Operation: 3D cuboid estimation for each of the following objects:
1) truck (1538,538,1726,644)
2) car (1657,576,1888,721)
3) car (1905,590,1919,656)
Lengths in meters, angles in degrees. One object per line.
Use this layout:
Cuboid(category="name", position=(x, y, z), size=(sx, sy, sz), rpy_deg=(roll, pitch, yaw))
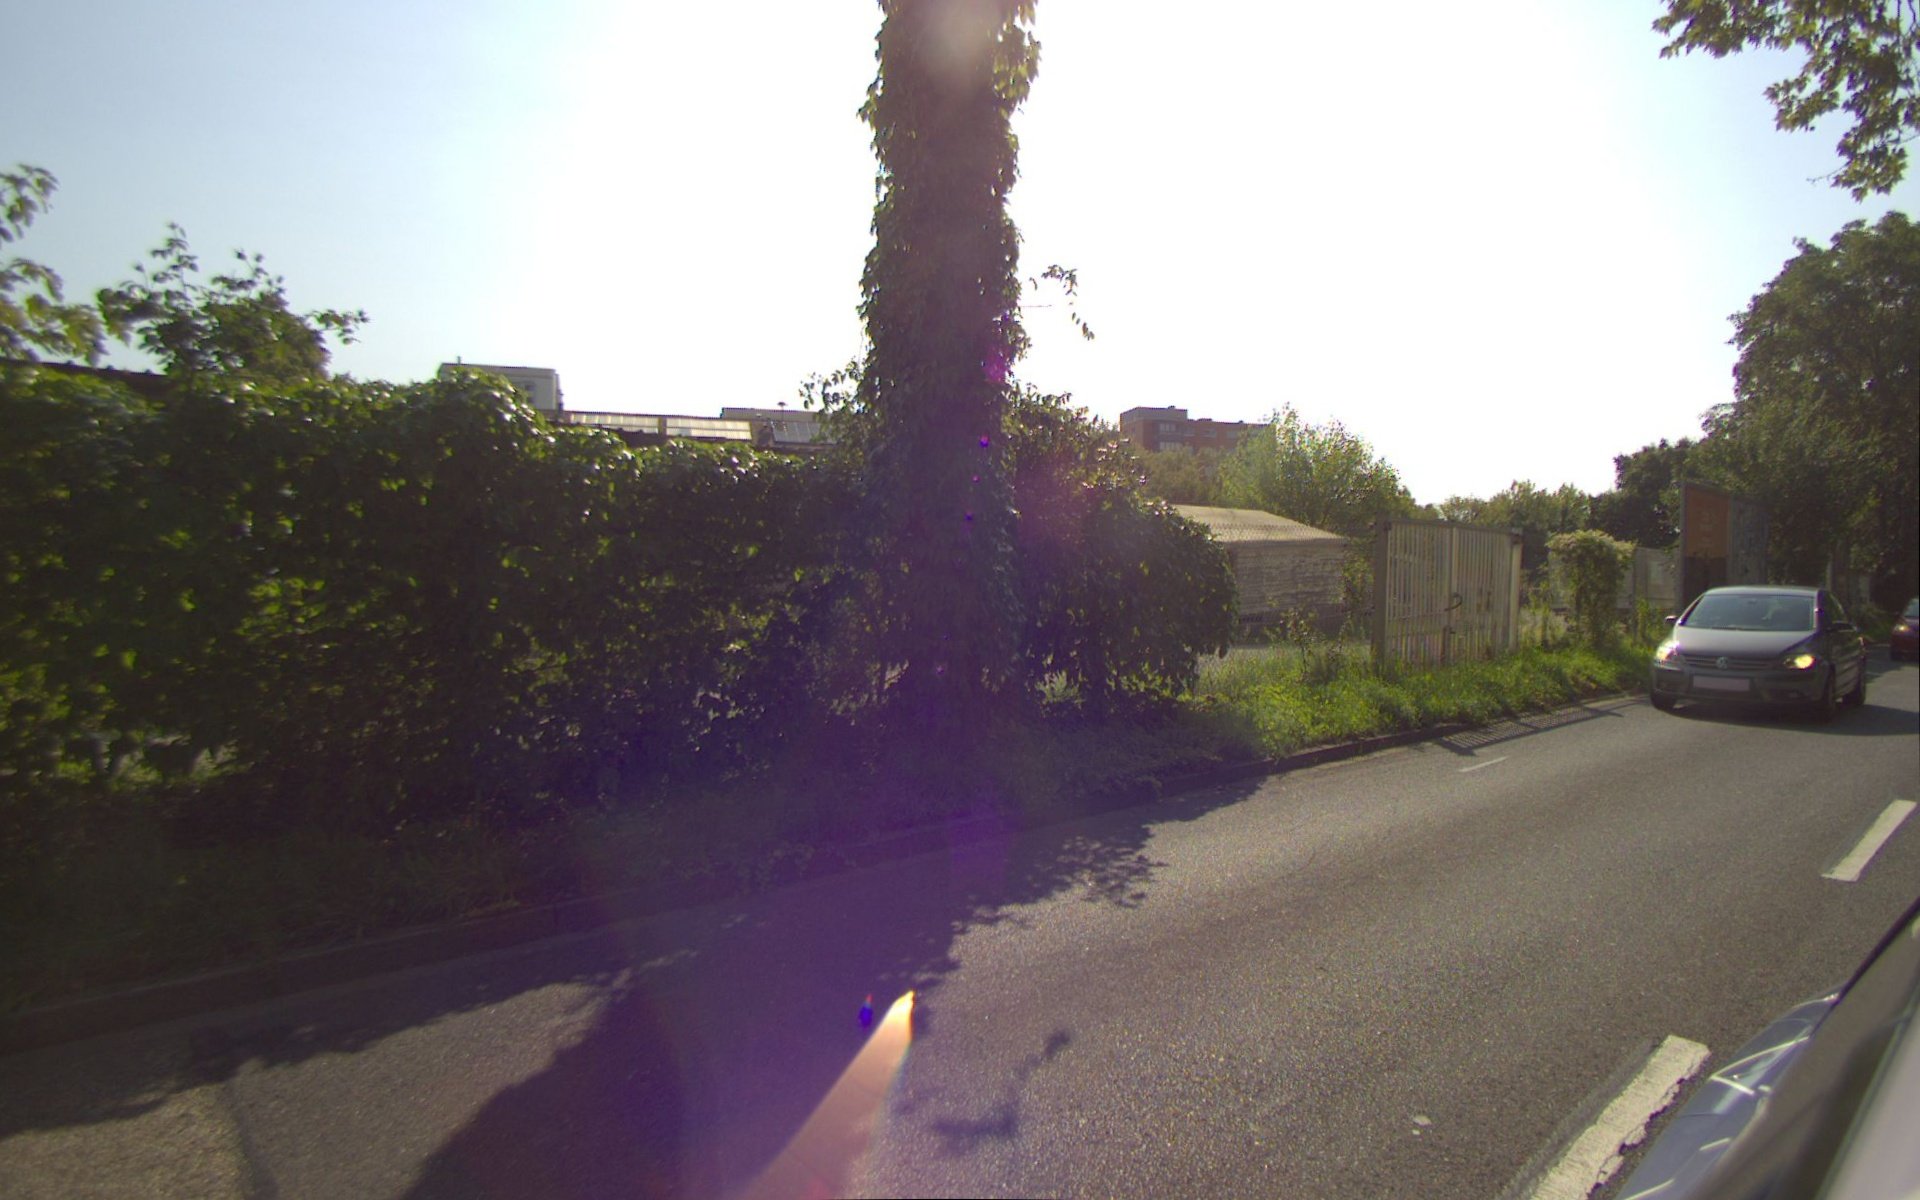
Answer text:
Cuboid(category="truck", position=(16.407, -0.194, 24.513), size=(6.789, 2.261, 1.918), rpy_deg=(0, 0, -40))
Cuboid(category="car", position=(10.423, 0.513, 12.893), size=(3.831, 1.576, 1.648), rpy_deg=(0, 1, -41))
Cuboid(category="car", position=(22.356, 0.510, 22.656), size=(3.415, 1.416, 1.576), rpy_deg=(0, 2, -44))
